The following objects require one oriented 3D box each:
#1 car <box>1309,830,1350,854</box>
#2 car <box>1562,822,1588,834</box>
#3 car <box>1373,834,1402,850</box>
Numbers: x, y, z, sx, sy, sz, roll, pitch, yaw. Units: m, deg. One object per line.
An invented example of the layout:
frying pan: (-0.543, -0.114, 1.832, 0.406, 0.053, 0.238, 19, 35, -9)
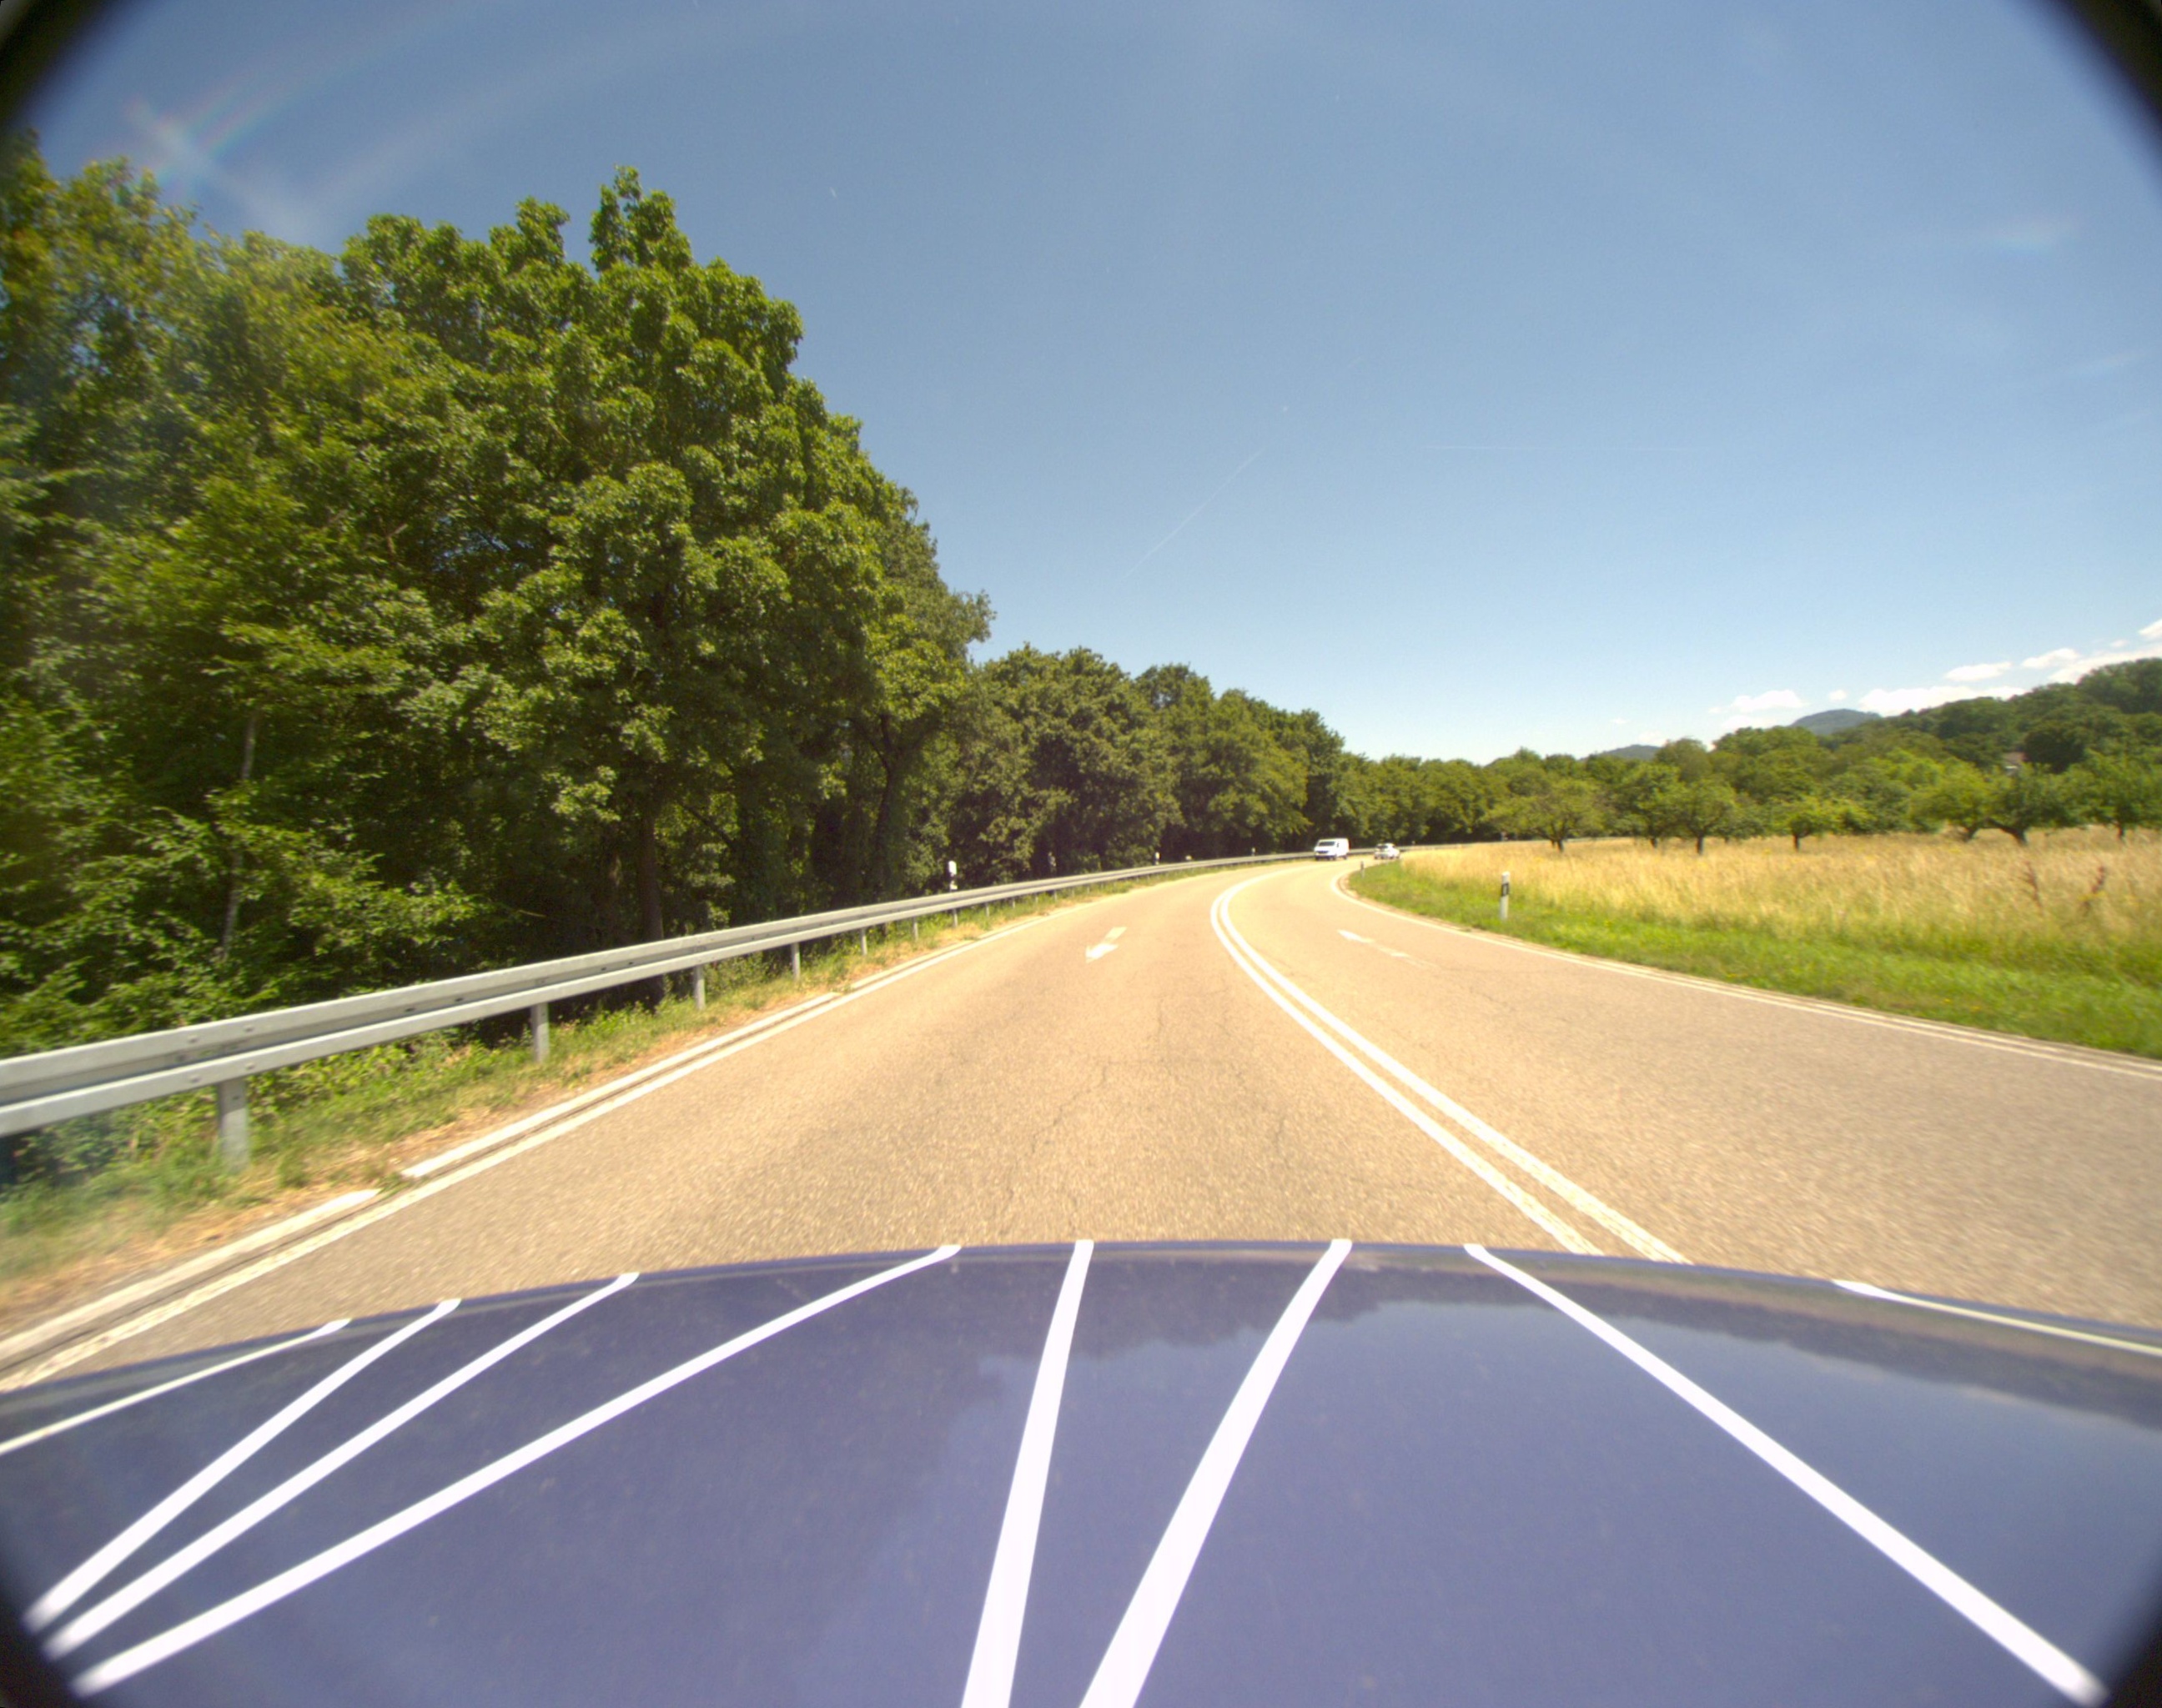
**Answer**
car: (23.532, -1.183, 71.705, 2.219, 2.023, 5.435, 3, 5, 34)
car: (71.285, -3.759, 109.614, 4.407, 1.450, 1.822, -3, 5, -38)
car: (29.608, -1.148, 73.327, 1.823, 1.498, 4.180, 1, 1, 33)
